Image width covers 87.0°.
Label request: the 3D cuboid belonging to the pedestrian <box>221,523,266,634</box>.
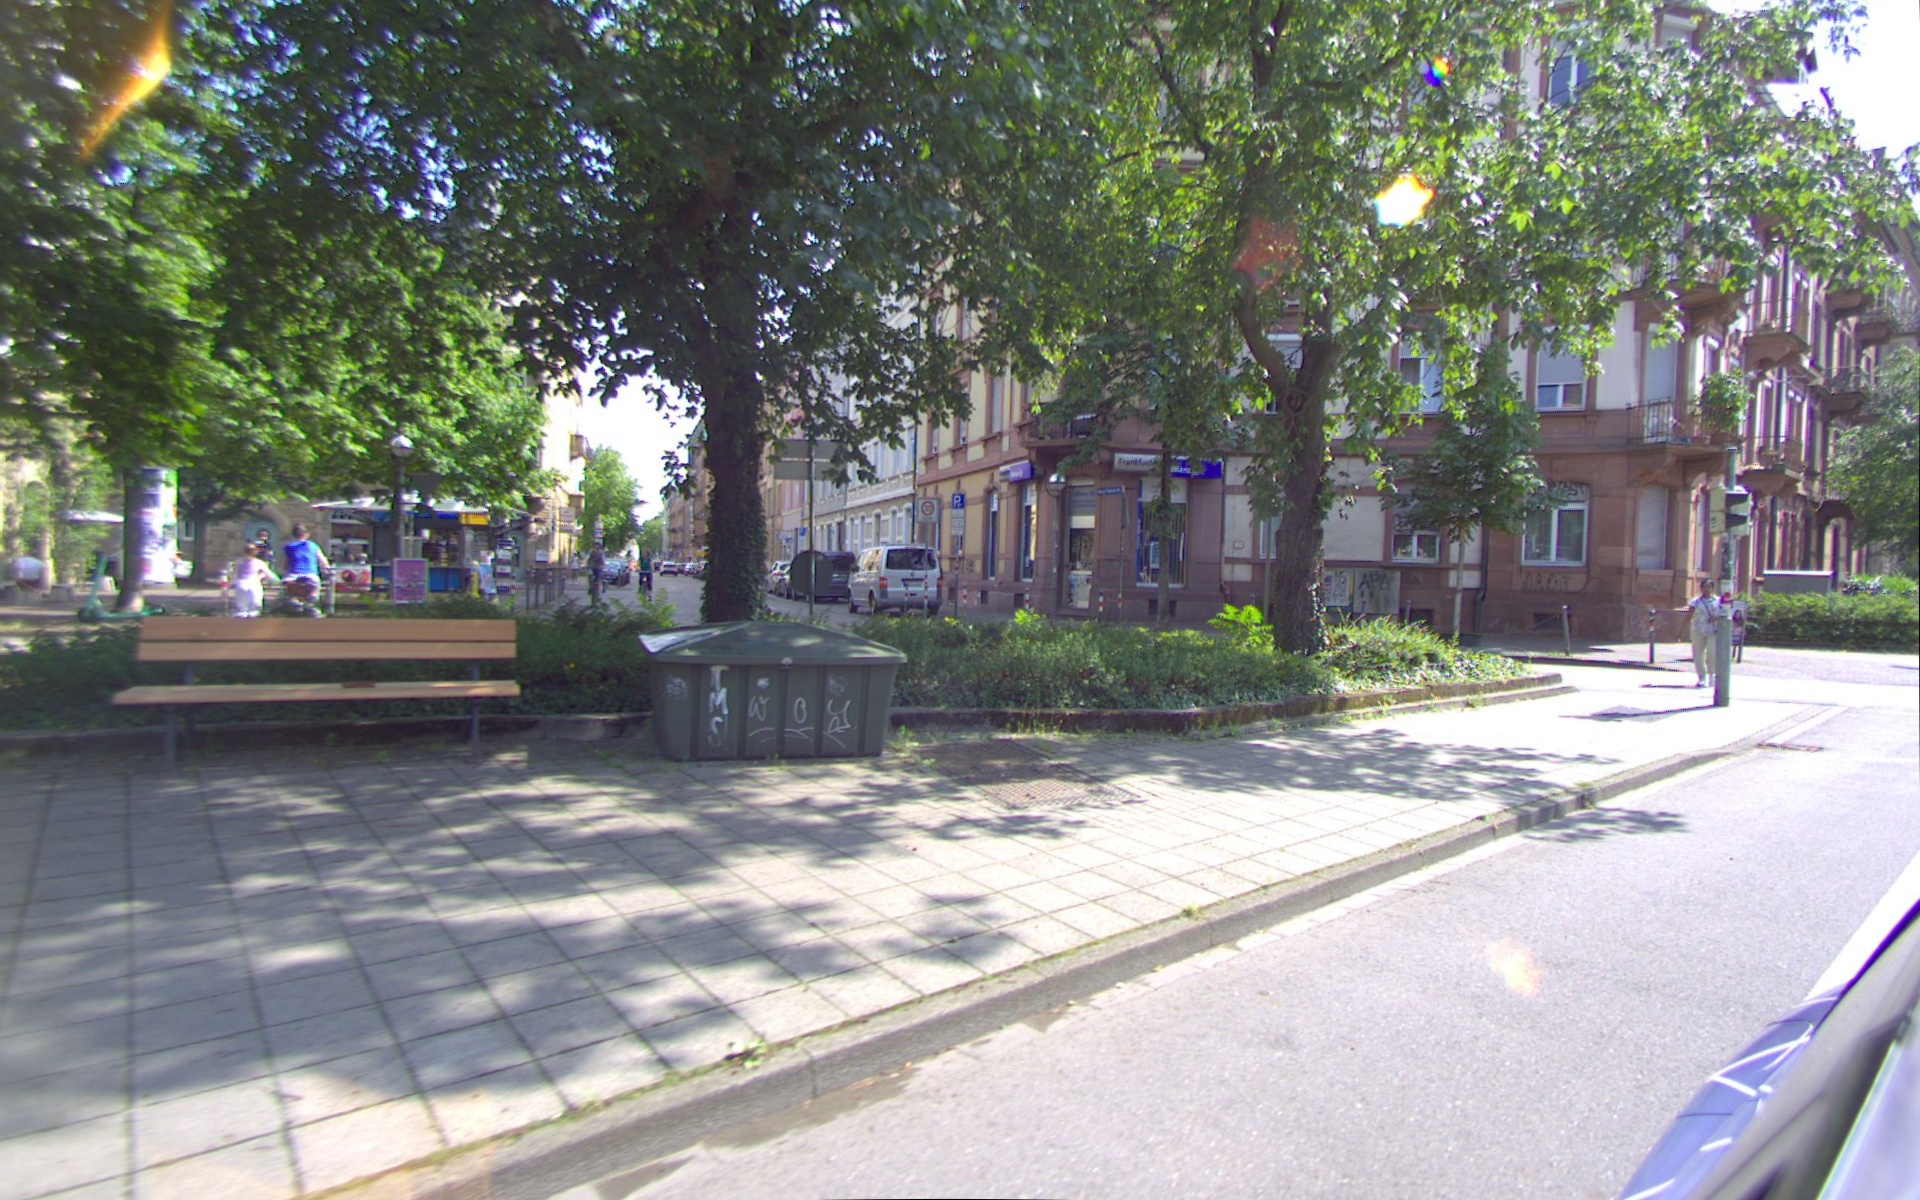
[{"bbox_3d":[-11.401,-0.331,16.095,0.524,1.721,0.560,0,0,-42],"label":"pedestrian"}]

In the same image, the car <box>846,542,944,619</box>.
[{"bbox_3d":[-1.948,-0.588,28.842,1.799,2.011,4.327,0,2,-17],"label":"car"}]

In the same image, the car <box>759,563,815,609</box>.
[{"bbox_3d":[-8.184,-0.714,47.611,1.958,2.038,4.327,1,2,-17],"label":"car"}]

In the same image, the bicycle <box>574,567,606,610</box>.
[{"bbox_3d":[-10.856,-0.341,29.735,0.512,1.209,1.856,0,0,-9],"label":"bicycle"}]

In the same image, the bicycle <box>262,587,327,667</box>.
[{"bbox_3d":[-9.096,0.342,13.812,0.515,1.018,1.682,0,0,-42],"label":"bicycle"}]

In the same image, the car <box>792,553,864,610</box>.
[{"bbox_3d":[-5.114,-0.737,38.652,1.958,2.038,4.327,1,2,-17],"label":"car"}]

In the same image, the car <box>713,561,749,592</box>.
[{"bbox_3d":[-15.903,-1.644,70.224,1.958,2.038,5.611,1,2,-17],"label":"car"}]

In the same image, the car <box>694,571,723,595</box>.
[{"bbox_3d":[-21.939,-1.502,88.203,1.958,2.038,4.327,1,2,-19],"label":"car"}]

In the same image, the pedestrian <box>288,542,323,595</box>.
[{"bbox_3d":[-22.520,-1.076,34.817,0.795,1.761,0.848,1,1,-18],"label":"pedestrian"}]

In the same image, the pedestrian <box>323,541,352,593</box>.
[{"bbox_3d":[-21.443,-1.126,34.880,0.668,1.761,0.848,1,1,-18],"label":"pedestrian"}]

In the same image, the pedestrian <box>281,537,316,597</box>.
[{"bbox_3d":[-19.997,-0.988,30.620,0.668,1.761,0.848,1,1,-18],"label":"pedestrian"}]

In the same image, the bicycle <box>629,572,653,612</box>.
[{"bbox_3d":[-9.397,-0.243,29.858,0.512,1.129,1.668,0,0,-12],"label":"bicycle"}]

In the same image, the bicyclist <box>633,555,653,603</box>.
[{"bbox_3d":[-9.436,-0.621,30.142,0.460,1.389,0.744,0,0,-10],"label":"bicyclist"}]

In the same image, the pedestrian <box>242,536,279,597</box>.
[{"bbox_3d":[-20.671,-0.985,29.936,0.668,1.761,0.848,1,1,-18],"label":"pedestrian"}]

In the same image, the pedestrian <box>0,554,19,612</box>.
[{"bbox_3d":[-20.538,-0.377,21.319,0.828,1.214,0.685,1,1,-19],"label":"pedestrian"}]

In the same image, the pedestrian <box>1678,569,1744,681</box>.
[{"bbox_3d":[11.509,0.364,15.518,0.525,1.675,0.706,0,0,-40],"label":"pedestrian"}]

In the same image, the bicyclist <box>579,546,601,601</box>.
[{"bbox_3d":[-10.859,-0.783,29.738,0.496,1.619,0.702,0,1,-11],"label":"bicyclist"}]

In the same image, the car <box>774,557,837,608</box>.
[{"bbox_3d":[-6.667,-0.789,43.306,1.958,2.038,4.327,1,2,-17],"label":"car"}]

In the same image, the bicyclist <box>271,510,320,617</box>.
[{"bbox_3d":[-9.032,-0.486,13.756,0.474,1.422,0.633,0,0,-42],"label":"bicyclist"}]
